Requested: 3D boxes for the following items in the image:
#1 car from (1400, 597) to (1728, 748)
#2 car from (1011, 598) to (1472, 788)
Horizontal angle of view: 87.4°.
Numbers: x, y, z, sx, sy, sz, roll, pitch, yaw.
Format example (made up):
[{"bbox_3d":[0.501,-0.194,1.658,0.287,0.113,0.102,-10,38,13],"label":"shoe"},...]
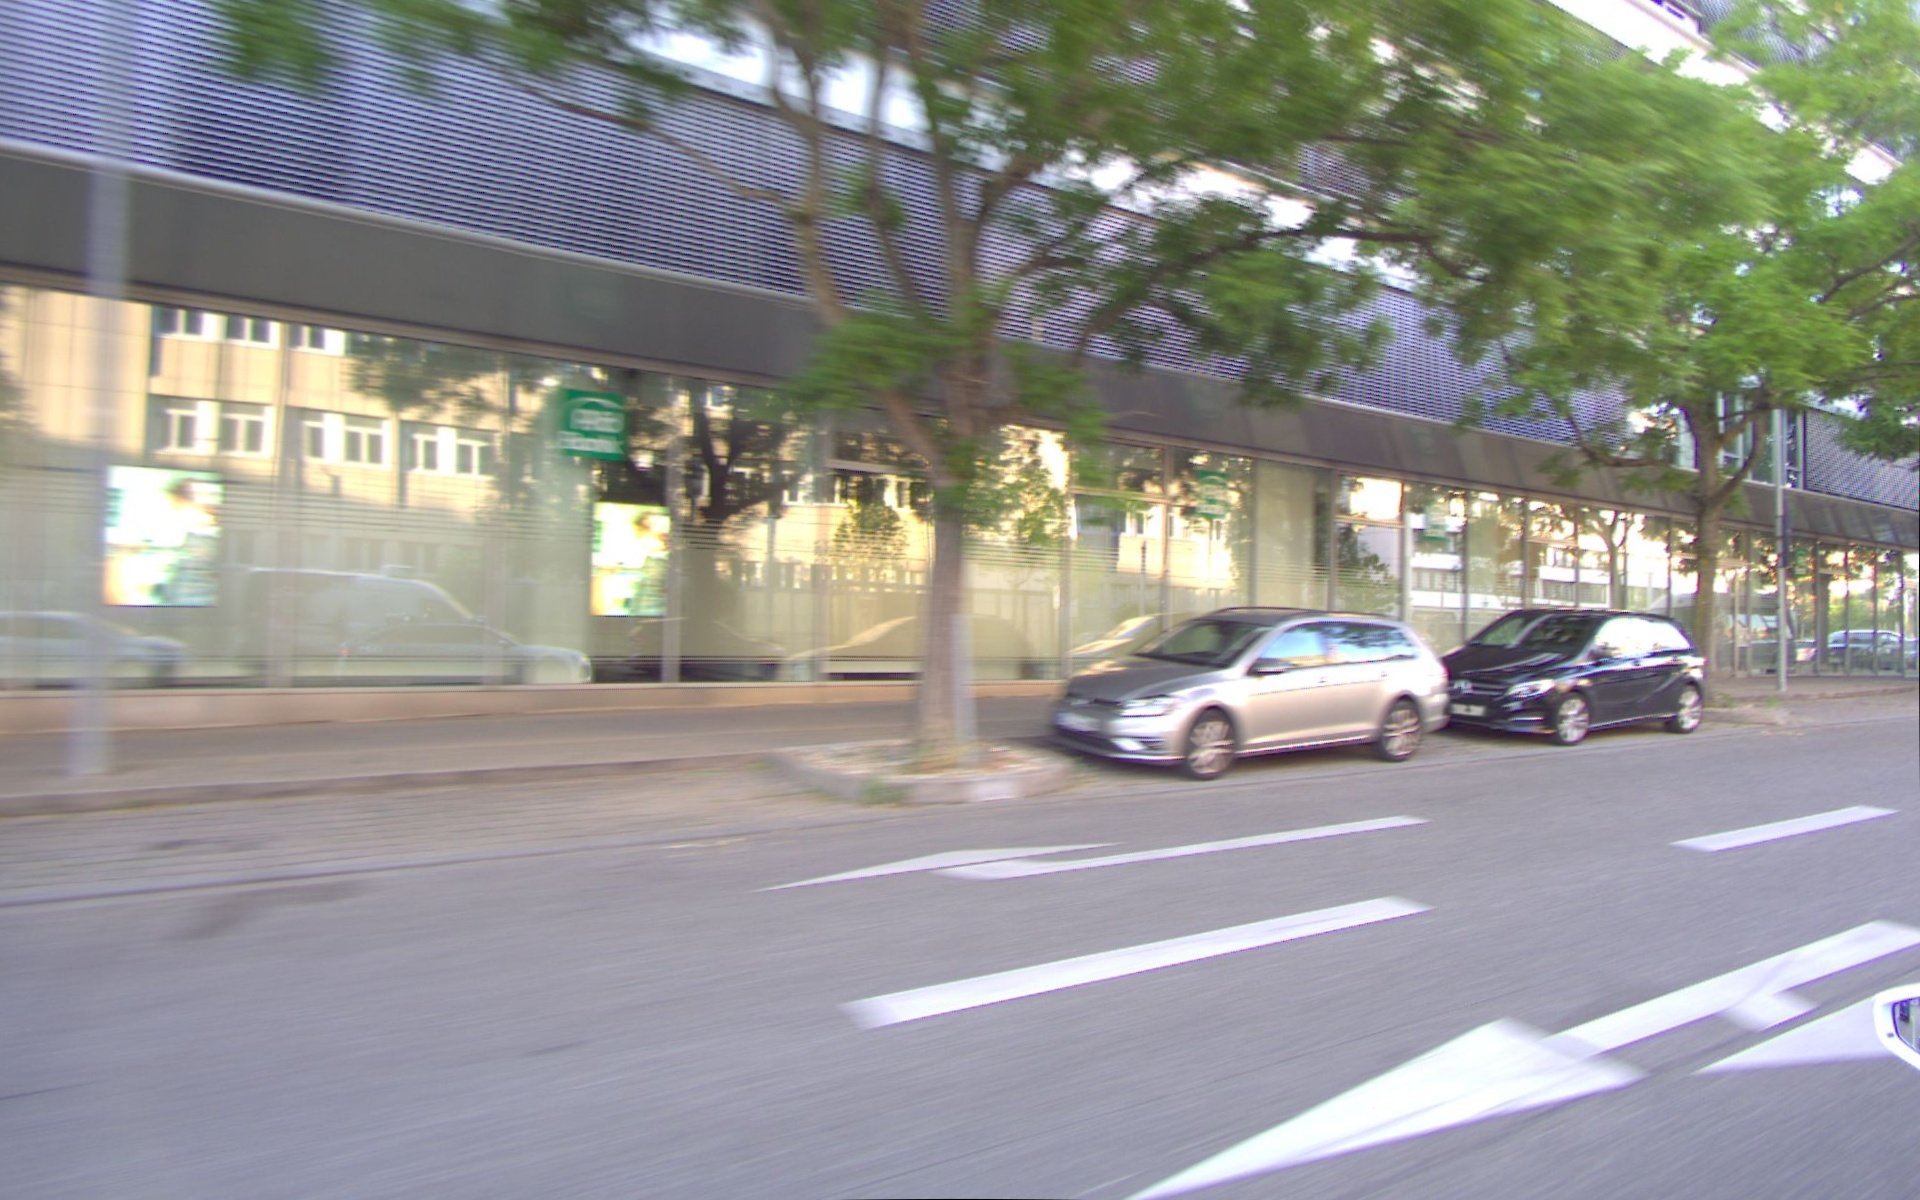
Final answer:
[{"bbox_3d":[7.721,0.831,12.732,4.418,1.590,1.582,1,2,-30],"label":"car"},{"bbox_3d":[2.901,0.806,10.021,4.572,1.481,1.695,1,2,-30],"label":"car"}]
